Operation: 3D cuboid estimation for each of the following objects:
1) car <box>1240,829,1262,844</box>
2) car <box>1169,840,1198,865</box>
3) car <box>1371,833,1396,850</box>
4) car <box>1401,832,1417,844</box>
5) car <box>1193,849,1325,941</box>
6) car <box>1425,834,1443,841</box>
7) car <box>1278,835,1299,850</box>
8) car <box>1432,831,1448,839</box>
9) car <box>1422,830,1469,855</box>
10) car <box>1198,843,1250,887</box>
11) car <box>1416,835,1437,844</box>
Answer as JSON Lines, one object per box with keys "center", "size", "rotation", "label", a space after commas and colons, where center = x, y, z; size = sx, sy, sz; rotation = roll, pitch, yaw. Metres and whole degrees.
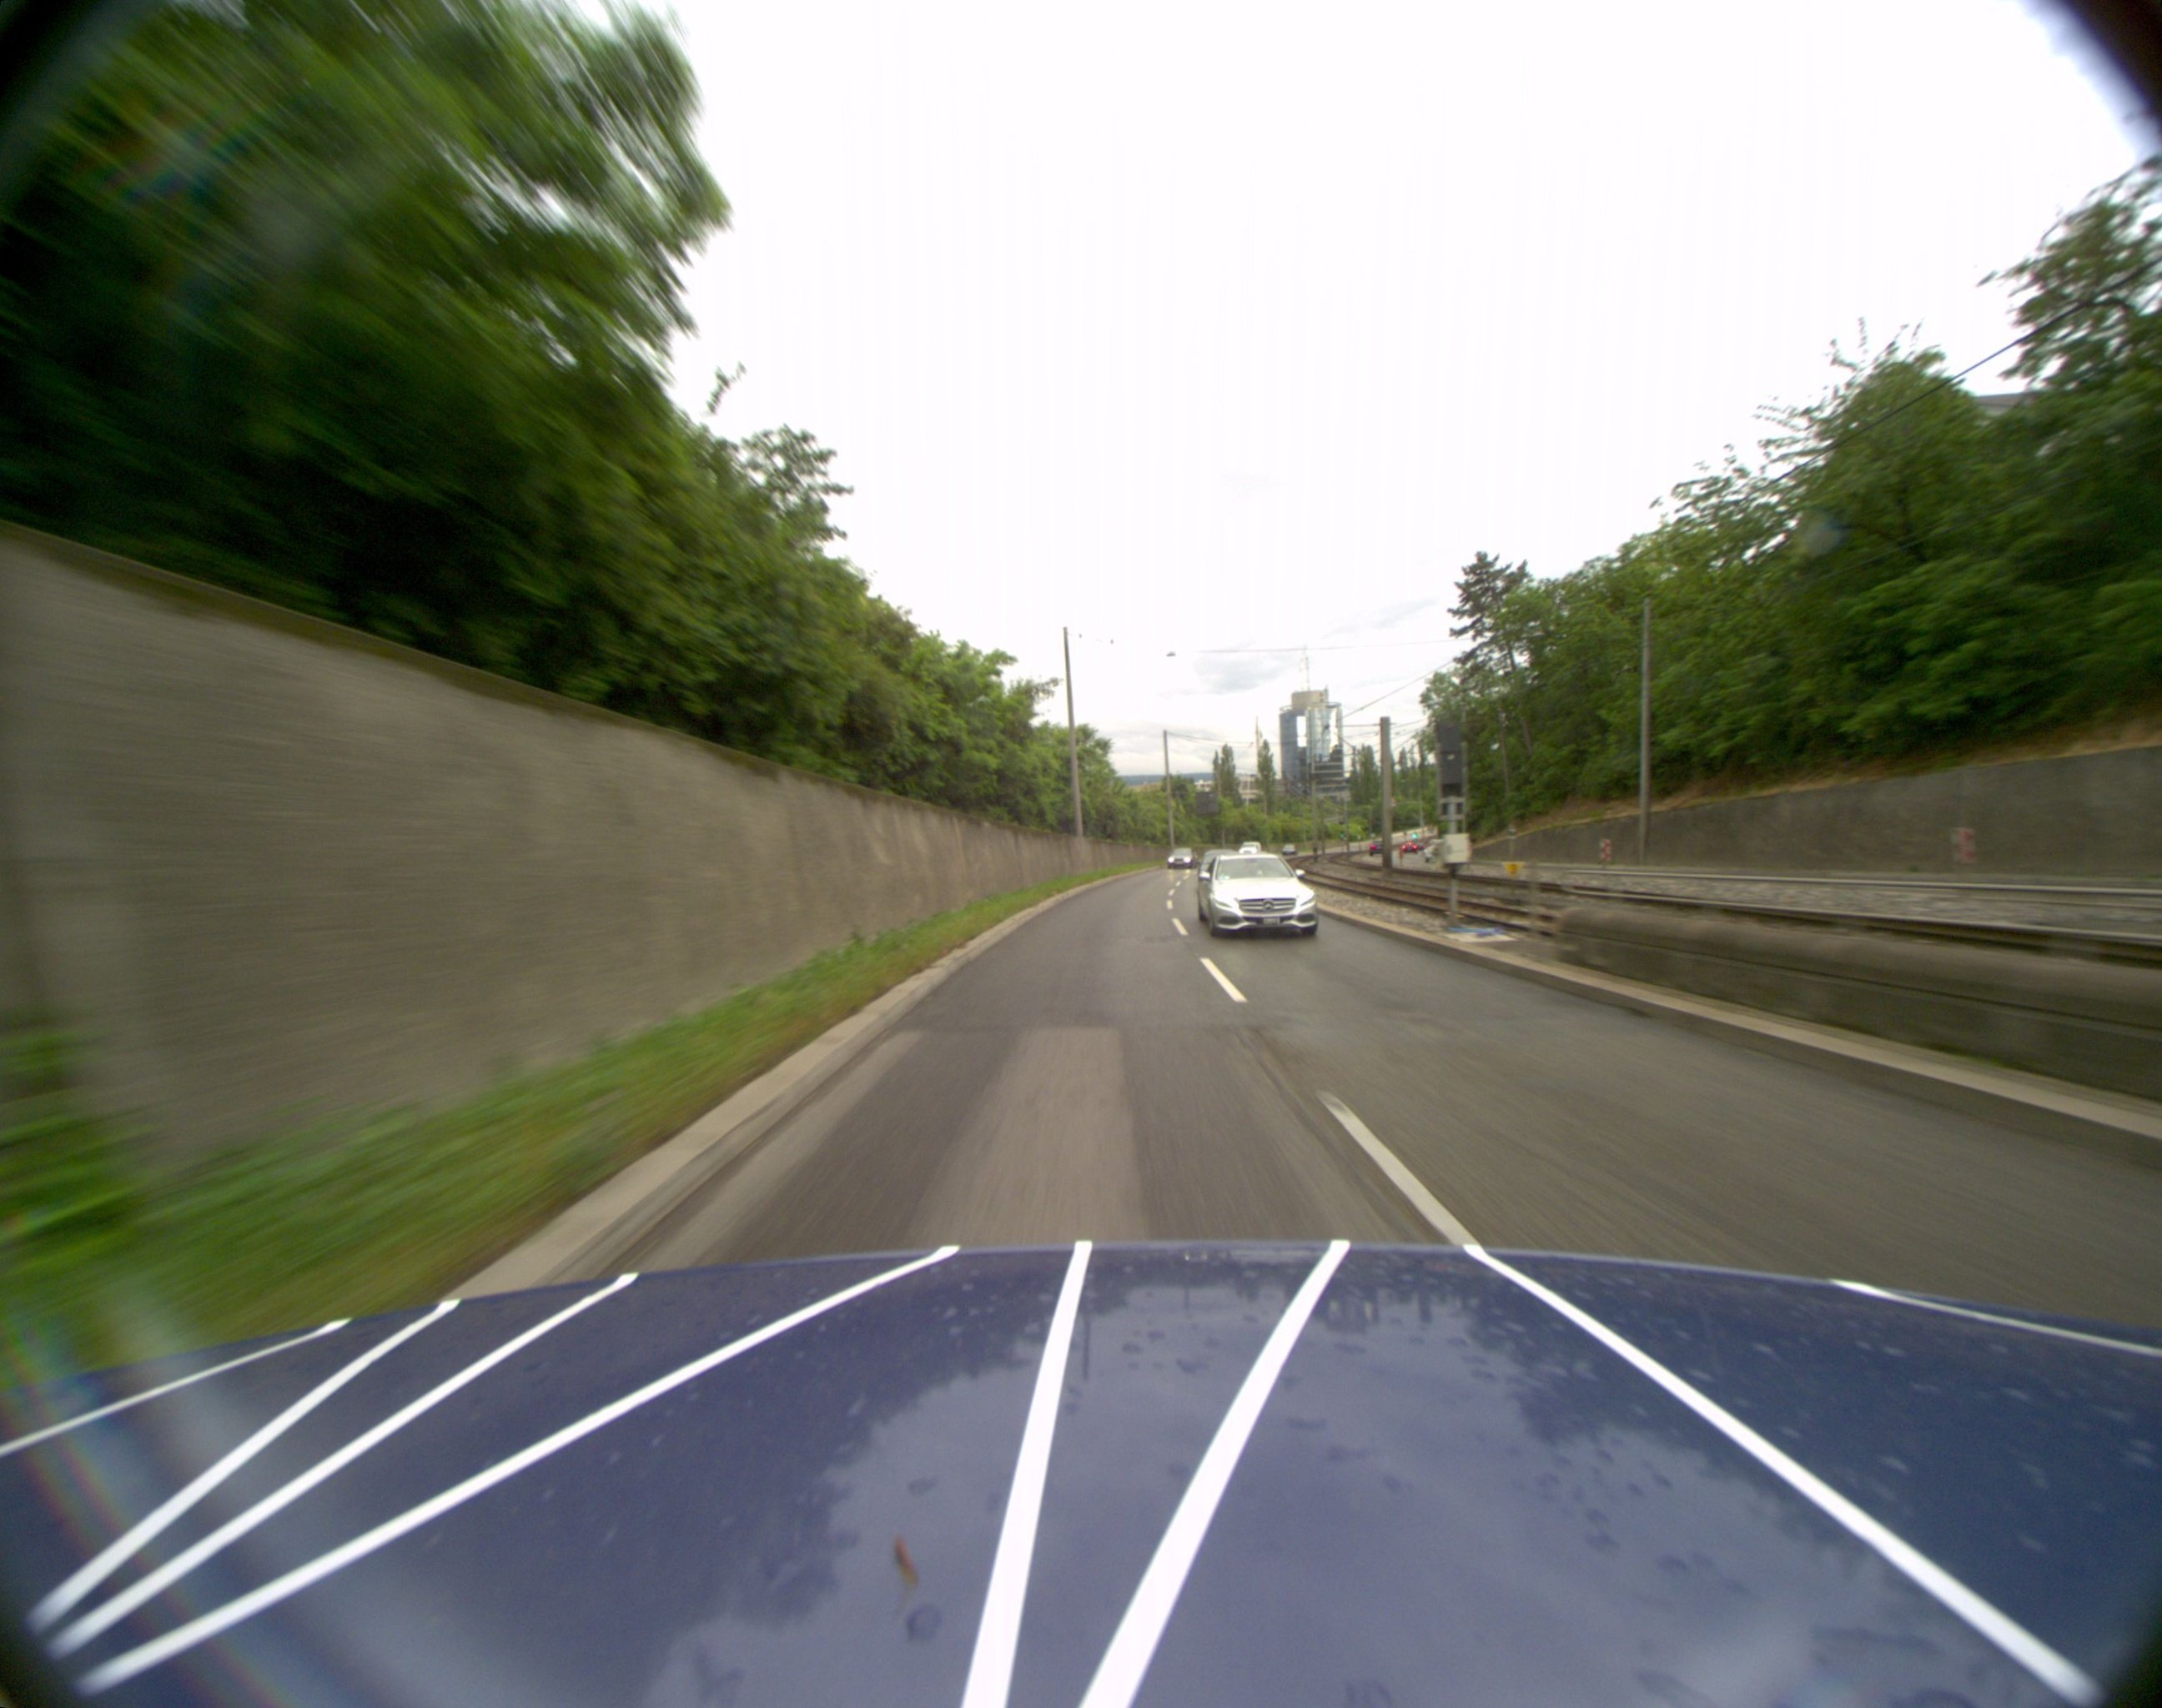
{"center": [21.123, -2.195, 94.248], "size": [1.807, 1.502, 4.004], "rotation": [-3, 3, 24], "label": "car"}
{"center": [7.262, -0.143, 53.678], "size": [1.808, 1.501, 4.001], "rotation": [-4, 3, 10], "label": "car"}
{"center": [33.679, -1.395, 84.536], "size": [2.235, 1.820, 5.145], "rotation": [-1, 1, 25], "label": "car"}
{"center": [42.143, -2.076, 97.544], "size": [1.826, 1.463, 4.420], "rotation": [0, 1, 24], "label": "car"}
{"center": [3.217, 0.663, 14.556], "size": [1.860, 1.395, 4.316], "rotation": [-2, 1, 5], "label": "car"}
{"center": [71.001, -3.265, 152.890], "size": [4.471, 1.450, 1.906], "rotation": [-1, 1, -45], "label": "car"}
{"center": [28.645, -1.615, 104.960], "size": [1.995, 2.002, 4.501], "rotation": [-1, 1, 25], "label": "car"}
{"center": [65.269, -3.440, 138.216], "size": [1.802, 1.415, 4.470], "rotation": [-1, 1, 35], "label": "car"}
{"center": [25.294, -0.799, 52.907], "size": [1.938, 1.674, 4.411], "rotation": [-1, 1, 12], "label": "car"}
{"center": [5.261, 0.362, 28.104], "size": [1.728, 1.462, 3.890], "rotation": [-1, 0, 10], "label": "car"}
{"center": [54.555, -2.337, 119.974], "size": [1.894, 1.373, 4.461], "rotation": [0, 1, 40], "label": "car"}
